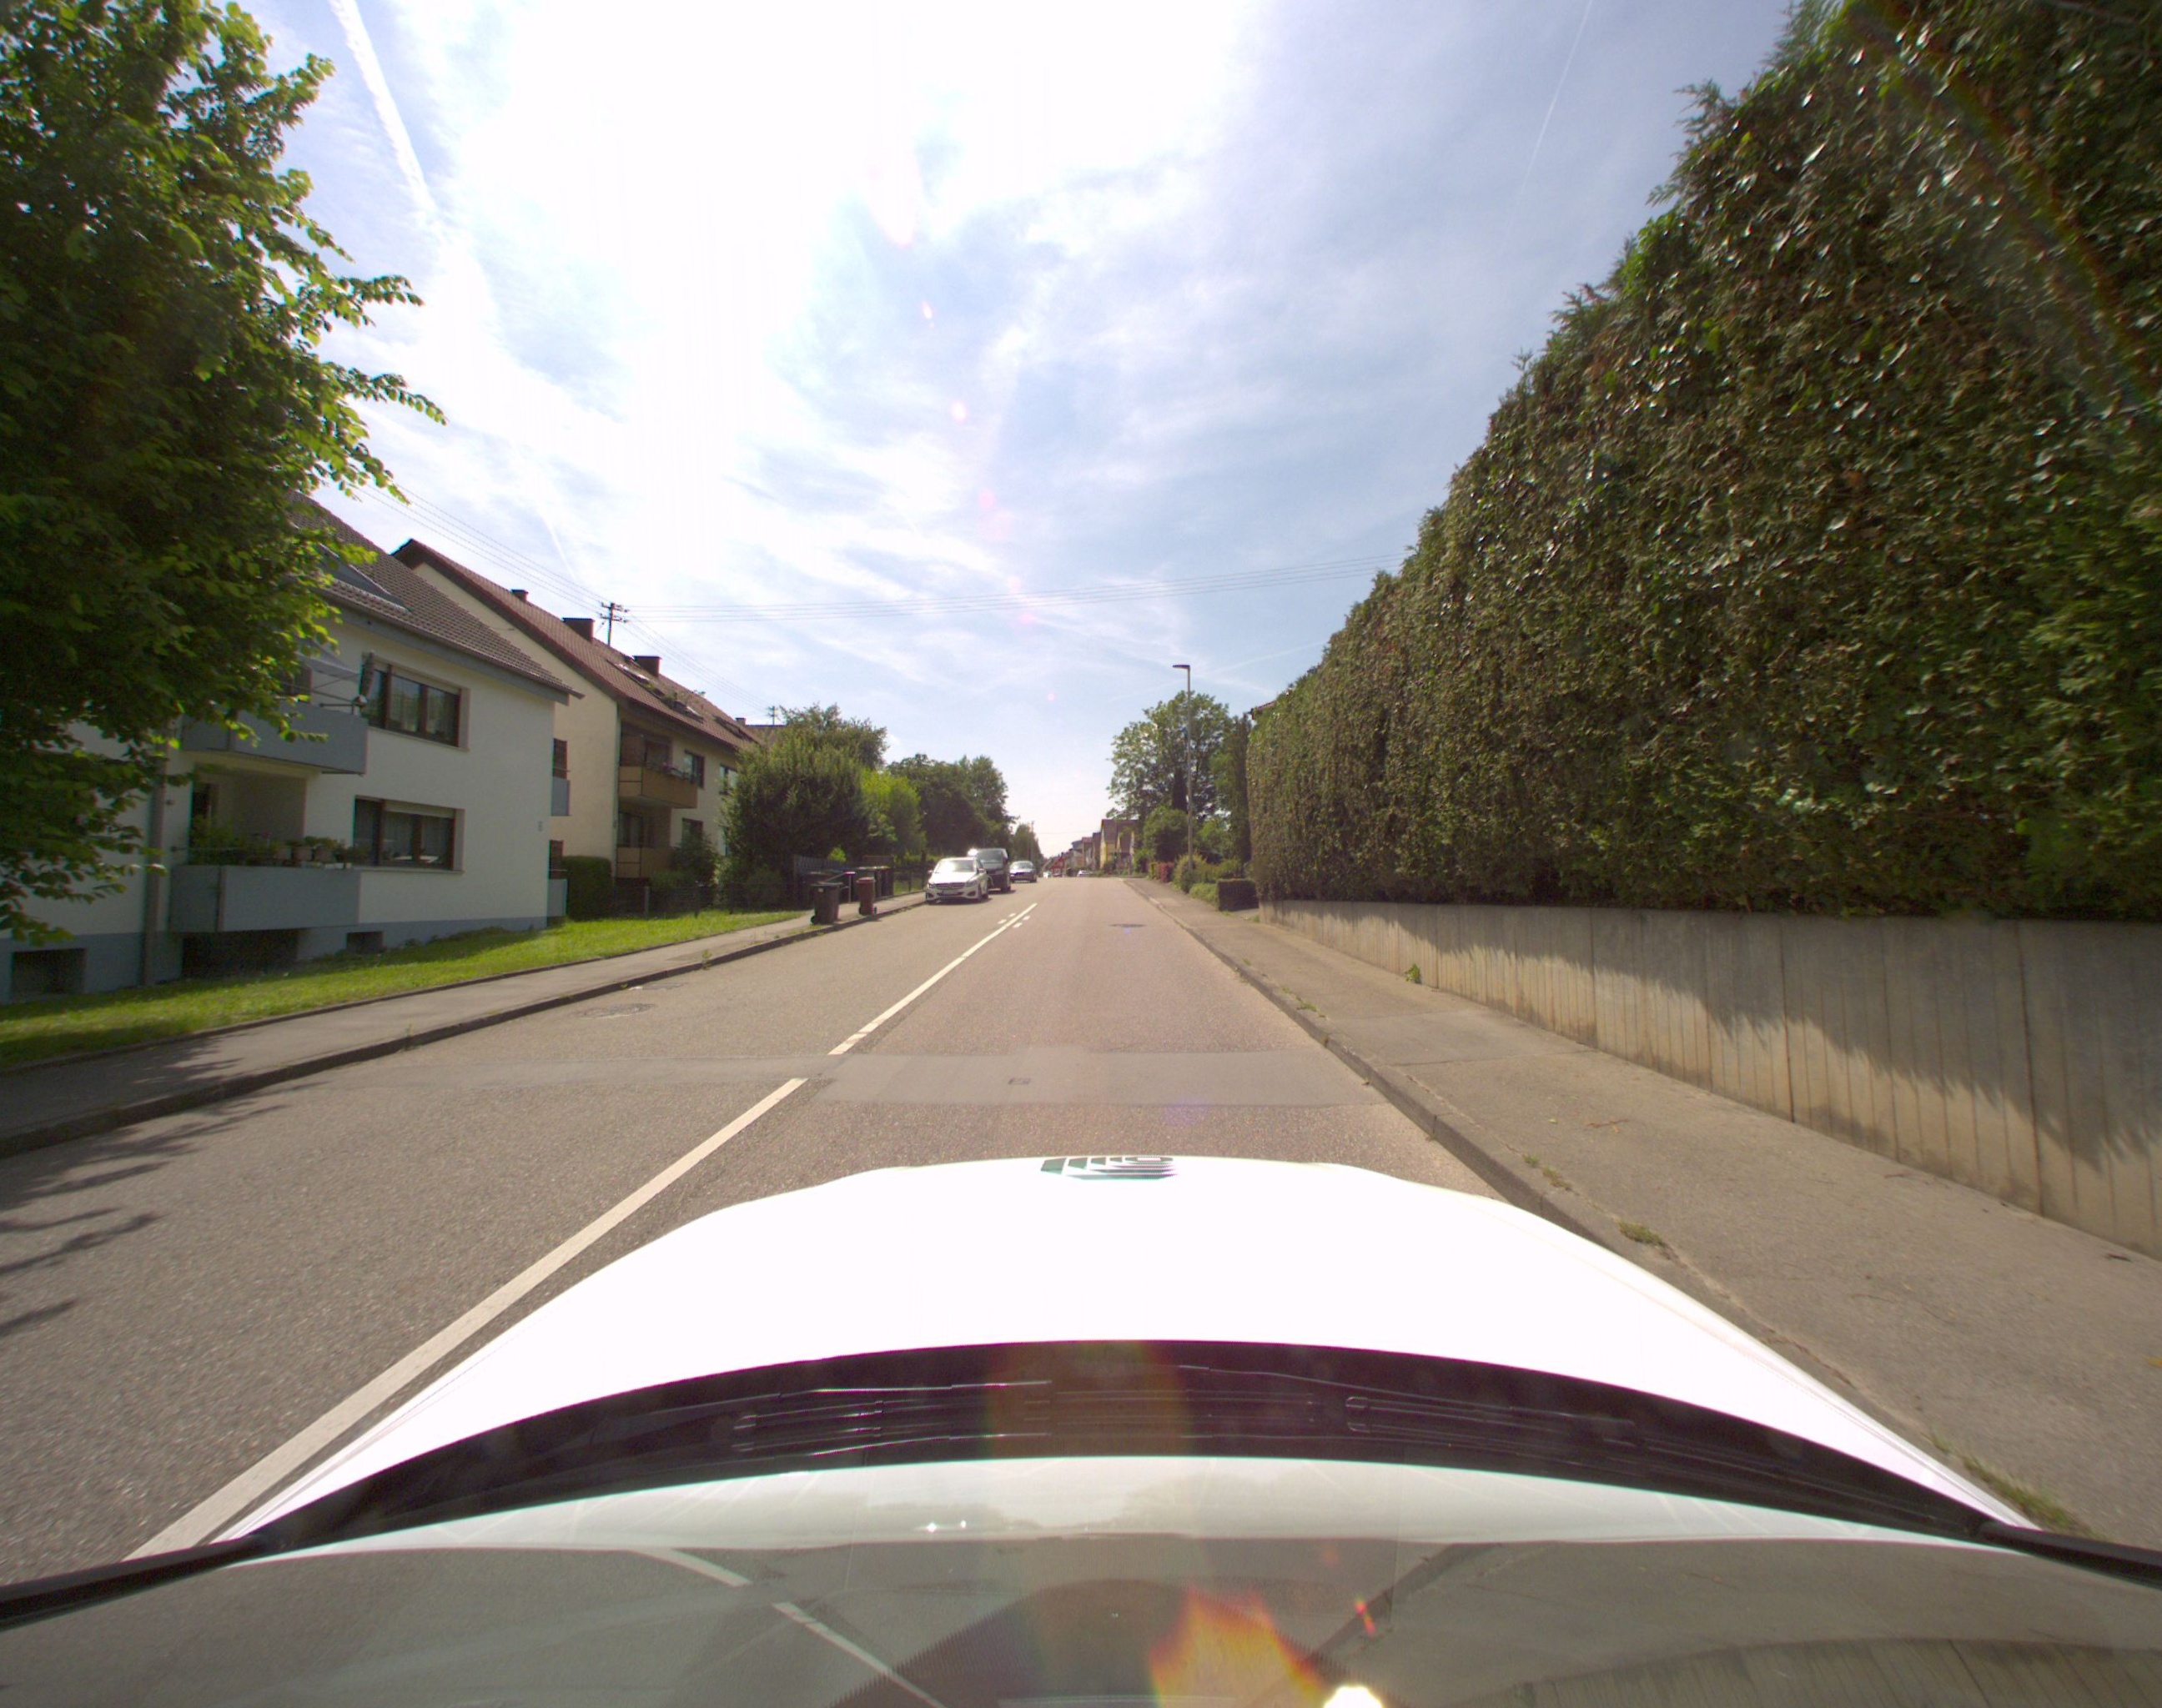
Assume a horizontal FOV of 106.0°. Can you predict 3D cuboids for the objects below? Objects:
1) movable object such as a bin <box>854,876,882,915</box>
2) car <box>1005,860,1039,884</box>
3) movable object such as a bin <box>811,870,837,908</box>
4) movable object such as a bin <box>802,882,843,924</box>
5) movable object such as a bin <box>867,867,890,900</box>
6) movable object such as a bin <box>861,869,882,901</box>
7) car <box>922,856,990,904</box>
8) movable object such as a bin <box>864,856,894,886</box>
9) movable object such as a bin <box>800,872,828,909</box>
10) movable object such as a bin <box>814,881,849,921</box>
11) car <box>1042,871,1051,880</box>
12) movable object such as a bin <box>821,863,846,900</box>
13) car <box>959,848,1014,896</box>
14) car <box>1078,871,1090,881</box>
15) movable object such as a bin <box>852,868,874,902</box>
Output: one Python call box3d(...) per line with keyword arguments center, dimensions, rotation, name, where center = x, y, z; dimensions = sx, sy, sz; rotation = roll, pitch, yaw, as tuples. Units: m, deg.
box3d(center=(-5.559, 1.083, 21.236), dimensions=(0.503, 0.988, 0.564), rotation=(-2, -1, 7), name="movable object such as a bin")
box3d(center=(-3.828, 1.168, 53.129), dimensions=(1.774, 1.394, 4.409), rotation=(-2, -1, 1), name="car")
box3d(center=(-8.277, 1.126, 26.212), dimensions=(0.544, 1.178, 0.675), rotation=(-1, -1, 6), name="movable object such as a bin")
box3d(center=(-5.885, 1.113, 18.566), dimensions=(0.616, 0.917, 0.687), rotation=(-2, -1, 7), name="movable object such as a bin")
box3d(center=(-7.008, 1.019, 28.144), dimensions=(0.494, 1.105, 0.711), rotation=(-3, -2, 7), name="movable object such as a bin")
box3d(center=(-7.052, 1.024, 27.386), dimensions=(0.453, 1.044, 0.561), rotation=(-3, -2, 7), name="movable object such as a bin")
box3d(center=(-4.370, 0.879, 28.992), dimensions=(1.806, 1.549, 4.241), rotation=(-1, 0, -1), name="car")
box3d(center=(-7.316, 0.602, 29.567), dimensions=(0.896, 1.070, 0.695), rotation=(-1, -1, 0), name="movable object such as a bin")
box3d(center=(-8.360, 1.137, 25.488), dimensions=(0.599, 1.096, 0.651), rotation=(-1, -1, 7), name="movable object such as a bin")
box3d(center=(-6.034, 1.126, 19.735), dimensions=(0.560, 0.917, 0.644), rotation=(-2, -1, 7), name="movable object such as a bin")
box3d(center=(-7.758, 4.738, 182.835), dimensions=(1.877, 1.965, 4.892), rotation=(-1, -1, -6), name="car")
box3d(center=(-8.214, 0.910, 27.001), dimensions=(0.474, 1.178, 0.841), rotation=(-1, -1, 6), name="movable object such as a bin")
box3d(center=(-4.132, 0.751, 36.325), dimensions=(1.891, 1.920, 4.867), rotation=(-2, 0, -1), name="car")
box3d(center=(0.450, 3.568, 133.772), dimensions=(1.987, 1.603, 3.999), rotation=(-1, -1, 0), name="car")
box3d(center=(-7.165, 1.011, 26.753), dimensions=(0.515, 1.104, 0.529), rotation=(-3, -2, 0), name="movable object such as a bin")
